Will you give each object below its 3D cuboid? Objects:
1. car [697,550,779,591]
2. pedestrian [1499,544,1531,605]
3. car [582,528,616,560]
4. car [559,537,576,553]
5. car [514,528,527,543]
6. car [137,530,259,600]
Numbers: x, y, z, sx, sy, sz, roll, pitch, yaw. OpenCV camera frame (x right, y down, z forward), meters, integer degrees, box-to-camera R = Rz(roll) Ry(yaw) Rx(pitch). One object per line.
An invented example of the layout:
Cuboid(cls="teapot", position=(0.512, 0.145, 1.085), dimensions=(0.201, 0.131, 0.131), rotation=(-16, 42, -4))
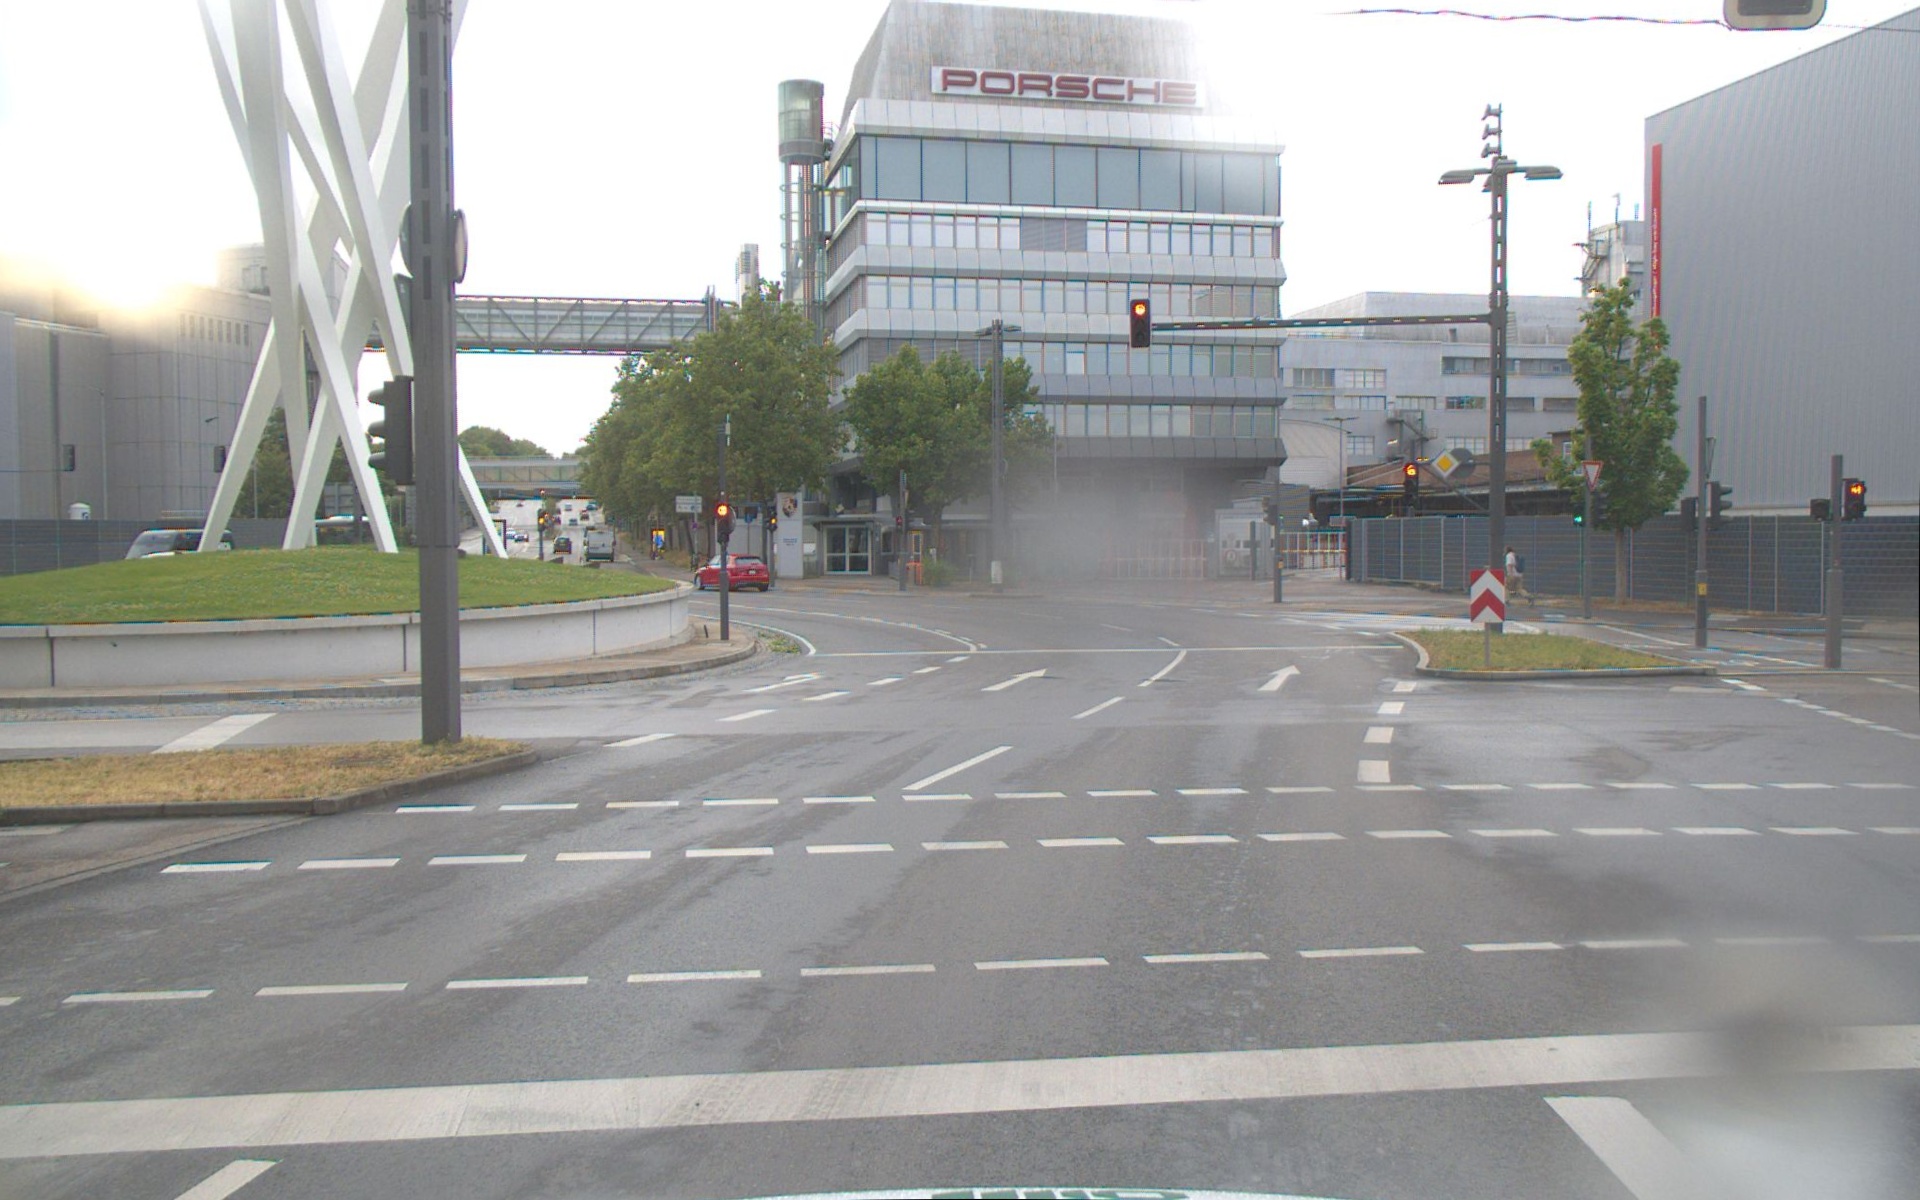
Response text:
Cuboid(cls="car", position=(-8.715, -1.135, 64.695), dimensions=(1.757, 1.490, 3.688), rotation=(0, 0, -34))
Cuboid(cls="pedestrian", position=(15.278, -0.689, 45.575), dimensions=(0.791, 1.639, 0.770), rotation=(-1, -1, 17))
Cuboid(cls="car", position=(-26.986, -4.142, 123.489), dimensions=(2.196, 2.144, 4.933), rotation=(0, -1, -16))
Cuboid(cls="car", position=(-36.801, -5.161, 155.055), dimensions=(1.531, 1.311, 3.401), rotation=(0, 0, -14))
Cuboid(cls="car", position=(-57.253, -8.430, 215.532), dimensions=(1.600, 1.848, 3.719), rotation=(0, 1, -14))
Cuboid(cls="car", position=(-32.581, -1.473, 71.002), dimensions=(1.926, 2.869, 7.128), rotation=(0, 1, 0))
